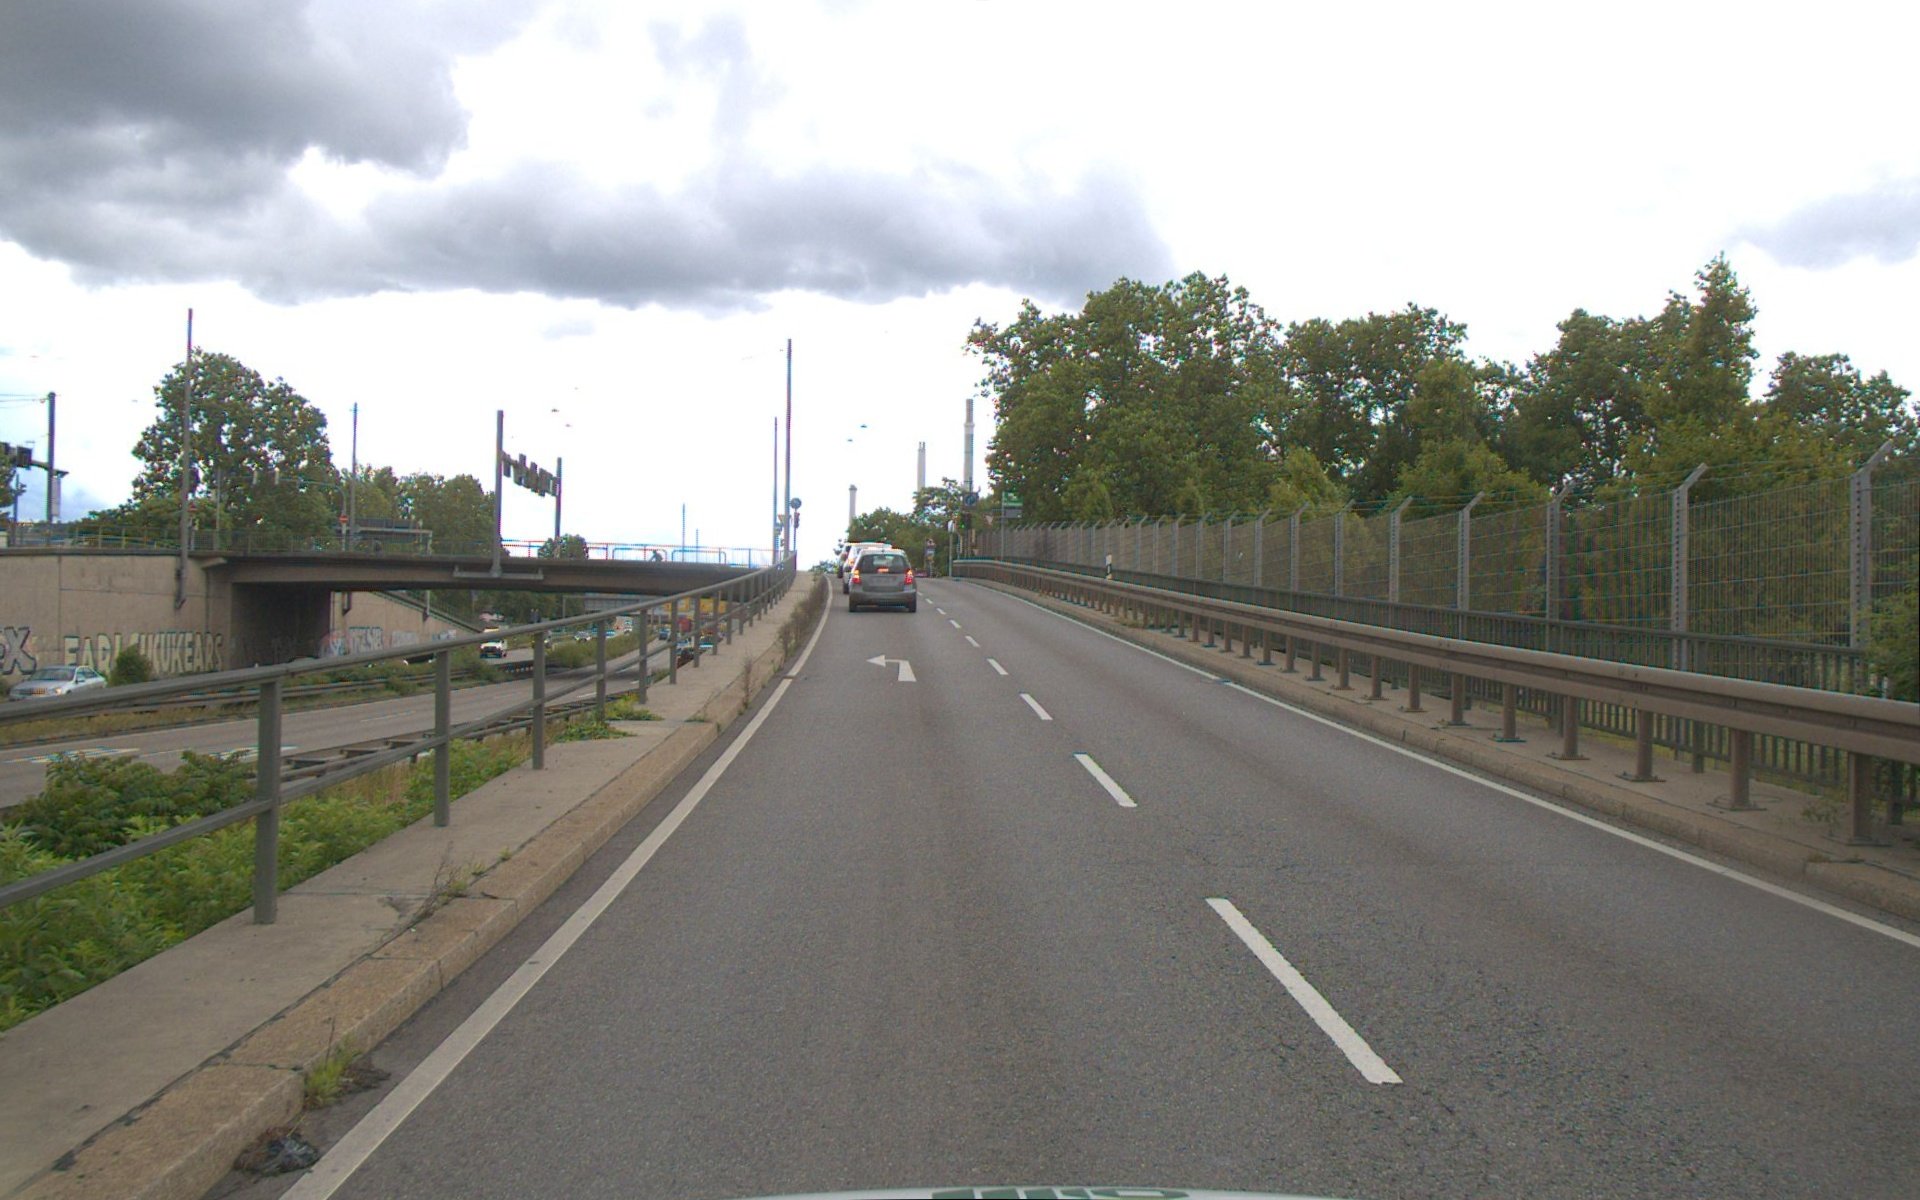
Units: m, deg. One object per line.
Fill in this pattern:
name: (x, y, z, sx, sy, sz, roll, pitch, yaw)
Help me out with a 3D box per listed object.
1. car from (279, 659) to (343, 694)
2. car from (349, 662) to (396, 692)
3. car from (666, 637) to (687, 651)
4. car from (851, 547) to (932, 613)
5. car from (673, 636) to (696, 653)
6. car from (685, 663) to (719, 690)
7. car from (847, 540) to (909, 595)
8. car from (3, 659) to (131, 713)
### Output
car: (-33.560, 3.951, 85.643, 1.955, 1.750, 4.696, 0, -2, -7)
car: (-36.126, 4.726, 101.805, 1.957, 1.722, 4.692, 0, -1, -9)
car: (-36.765, 5.695, 214.646, 1.953, 1.713, 3.999, 1, 0, -1)
car: (-1.748, -0.486, 43.325, 1.713, 1.608, 4.086, 1, 0, 3)
car: (-30.653, 4.960, 184.132, 1.953, 1.713, 3.999, 1, 0, -1)
car: (-16.041, 4.780, 103.129, 1.956, 1.445, 3.994, 1, 0, -7)
car: (-2.736, -1.105, 54.481, 1.954, 1.630, 3.999, 0, 3, -4)
car: (-30.301, 2.963, 56.314, 1.954, 1.722, 4.699, -1, -4, -3)
